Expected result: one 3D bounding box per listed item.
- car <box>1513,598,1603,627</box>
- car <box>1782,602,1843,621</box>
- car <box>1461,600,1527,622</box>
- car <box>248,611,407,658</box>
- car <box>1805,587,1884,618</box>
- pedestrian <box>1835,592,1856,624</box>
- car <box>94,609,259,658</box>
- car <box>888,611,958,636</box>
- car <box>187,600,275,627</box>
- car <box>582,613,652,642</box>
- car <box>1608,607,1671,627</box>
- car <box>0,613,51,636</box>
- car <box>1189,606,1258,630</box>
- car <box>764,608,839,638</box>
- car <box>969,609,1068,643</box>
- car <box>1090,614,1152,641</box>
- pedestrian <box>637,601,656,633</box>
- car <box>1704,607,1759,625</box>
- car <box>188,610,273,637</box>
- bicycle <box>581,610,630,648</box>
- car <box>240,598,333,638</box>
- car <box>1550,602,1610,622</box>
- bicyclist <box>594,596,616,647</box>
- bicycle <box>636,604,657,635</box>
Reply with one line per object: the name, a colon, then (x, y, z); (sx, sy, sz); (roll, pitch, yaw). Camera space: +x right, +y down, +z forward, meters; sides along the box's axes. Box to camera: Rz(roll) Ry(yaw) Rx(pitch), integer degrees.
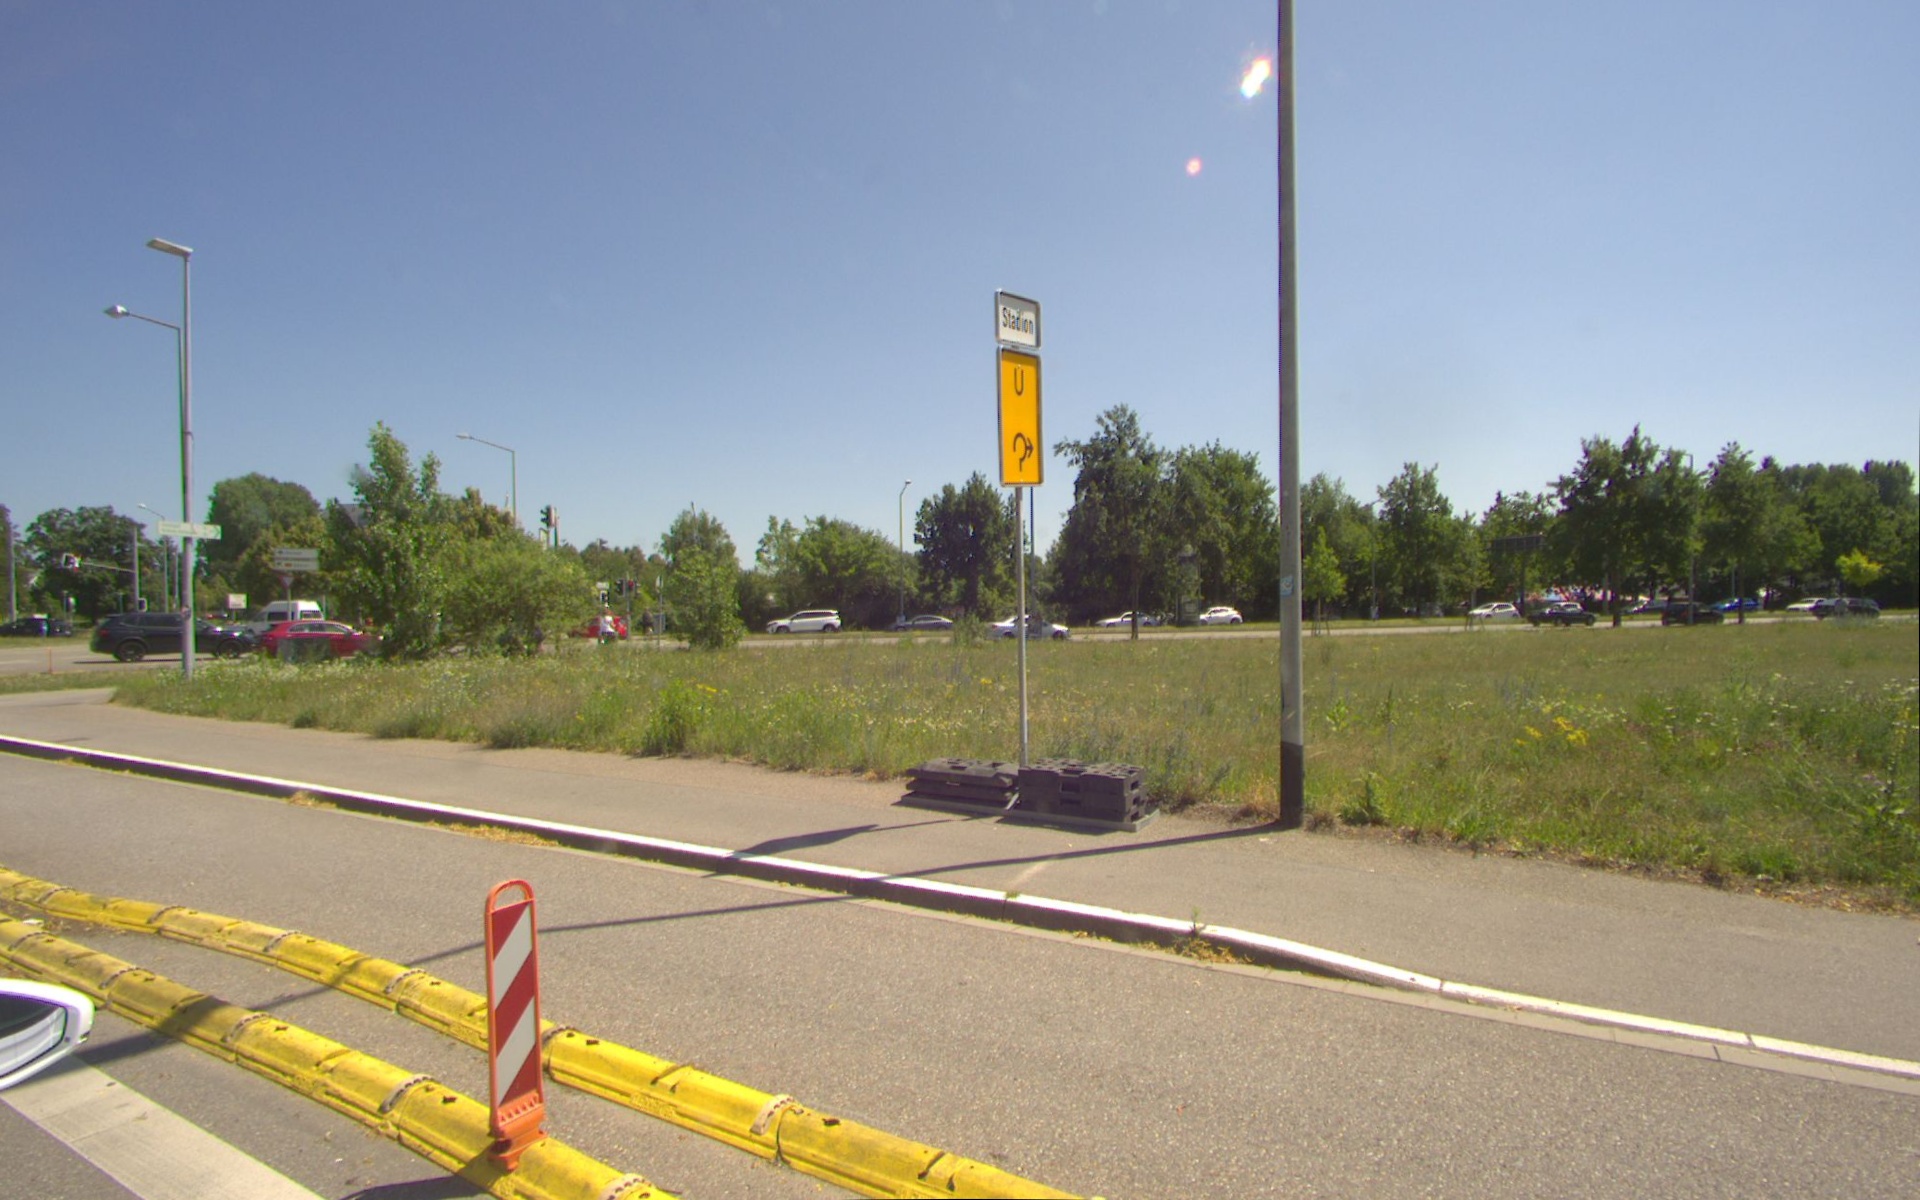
car: (37.397, 0.795, 62.628); (5.241, 1.758, 1.995); (1, -2, -21)
car: (73.195, 1.009, 85.971); (4.365, 1.612, 1.846); (0, -2, -16)
car: (40.864, 0.885, 76.622); (4.365, 1.612, 1.846); (0, -2, -16)
car: (-22.158, 1.224, 35.215); (1.978, 1.546, 4.384); (-2, -2, 41)
car: (59.830, 0.184, 67.741); (4.564, 1.961, 1.996); (1, -2, -19)
pedestrian: (45.384, 0.406, 51.304); (0.548, 1.611, 0.662); (1, -1, -32)
car: (-27.991, 1.158, 35.879); (1.978, 1.616, 4.381); (-1, 0, 42)
car: (-2.450, 1.549, 66.470); (4.365, 1.612, 1.846); (0, -2, -16)
car: (-55.169, 1.038, 75.800); (5.224, 1.987, 1.995); (0, -2, 1)
car: (-21.482, 1.729, 62.752); (3.862, 1.840, 1.664); (0, -2, -6)
car: (54.696, 1.377, 80.609); (4.365, 1.612, 1.846); (0, -2, -16)
car: (-68.204, 1.747, 71.674); (4.248, 1.634, 1.882); (0, -2, -8)
car: (18.429, 1.265, 70.100); (4.365, 1.612, 1.846); (0, -2, -16)
car: (-9.730, 1.435, 61.548); (4.365, 1.758, 1.846); (0, -2, -16)
car: (2.786, 1.209, 47.945); (4.344, 1.547, 1.995); (0, 0, -20)
car: (11.378, 1.946, 70.795); (4.074, 1.840, 1.662); (0, -2, -15)
pedestrian: (-16.708, 0.919, 53.415); (0.954, 1.681, 0.885); (0, -1, -16)
car: (67.538, 1.406, 87.694); (3.927, 1.558, 1.764); (0, -2, -14)
car: (-55.377, 1.826, 76.040); (5.225, 1.987, 1.995); (0, -2, 6)
bicycle: (-13.172, 1.086, 37.276); (0.628, 1.370, 2.896); (0, -2, 4)
car: (-42.083, 1.142, 62.581); (5.233, 2.427, 1.991); (-1, -2, 18)
car: (51.517, 0.960, 83.231); (4.365, 1.613, 1.845); (0, 0, -16)
bicyclist: (-13.154, 0.814, 37.157); (0.597, 1.864, 0.572); (0, -1, 2)
bicycle: (-16.751, 1.054, 53.553); (0.967, 1.617, 2.879); (0, -2, -16)
